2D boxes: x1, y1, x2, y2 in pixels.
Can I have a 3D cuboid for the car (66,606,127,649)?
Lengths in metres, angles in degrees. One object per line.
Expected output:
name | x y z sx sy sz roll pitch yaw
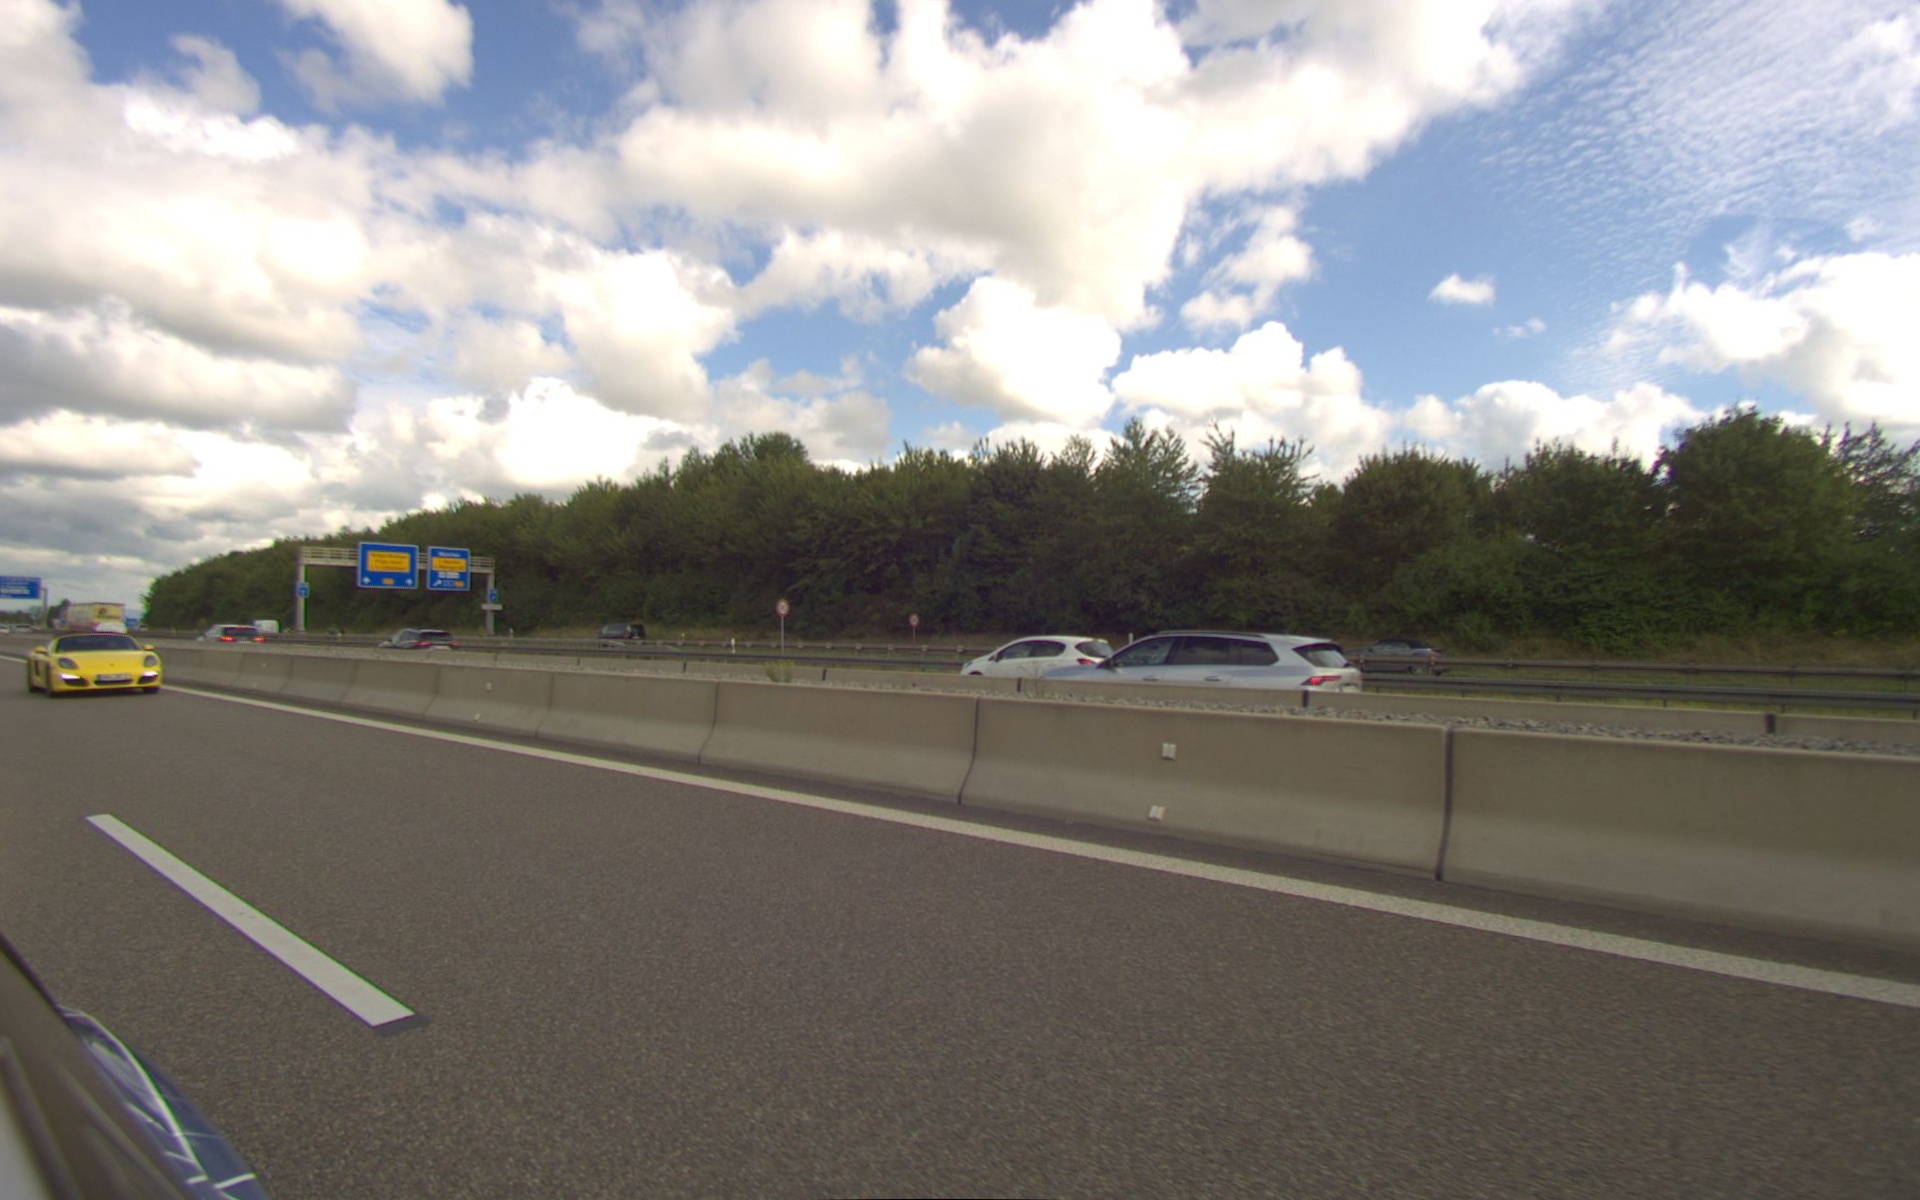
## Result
car | -93.177 3.012 109.092 14.138 4.358 2.875 -2 -3 41

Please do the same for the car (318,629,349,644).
car | -73.361 4.276 118.476 4.418 1.674 1.827 -1 -2 42

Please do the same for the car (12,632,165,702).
car | -18.302 1.355 21.191 4.245 1.325 1.788 -2 -4 41

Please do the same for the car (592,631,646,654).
car | -25.468 3.152 75.546 4.418 1.674 1.862 -1 -2 42

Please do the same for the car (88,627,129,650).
car | -69.300 3.091 82.311 5.121 1.808 1.716 -1 -2 41

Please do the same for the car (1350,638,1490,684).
car | 17.092 2.221 37.731 4.450 1.545 1.711 -1 -2 41

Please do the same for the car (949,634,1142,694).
car | 1.836 1.364 22.496 4.128 1.202 1.638 -1 -2 41

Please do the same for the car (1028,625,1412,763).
car | 3.241 1.089 13.278 4.640 1.516 1.671 -1 -2 41

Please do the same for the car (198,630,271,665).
car | -31.522 2.033 43.944 4.073 1.413 1.738 -2 -2 42

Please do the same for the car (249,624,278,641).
car | -94.503 4.403 137.284 5.889 2.252 1.972 -2 -3 43

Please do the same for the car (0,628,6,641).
car | -101.313 3.620 105.918 4.532 1.412 1.648 -2 -3 41

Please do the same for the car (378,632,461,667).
car | -21.460 1.923 40.124 4.240 1.294 1.563 -2 -2 42

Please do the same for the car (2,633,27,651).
car | -112.426 4.983 120.382 4.551 2.029 1.734 -2 -1 41
